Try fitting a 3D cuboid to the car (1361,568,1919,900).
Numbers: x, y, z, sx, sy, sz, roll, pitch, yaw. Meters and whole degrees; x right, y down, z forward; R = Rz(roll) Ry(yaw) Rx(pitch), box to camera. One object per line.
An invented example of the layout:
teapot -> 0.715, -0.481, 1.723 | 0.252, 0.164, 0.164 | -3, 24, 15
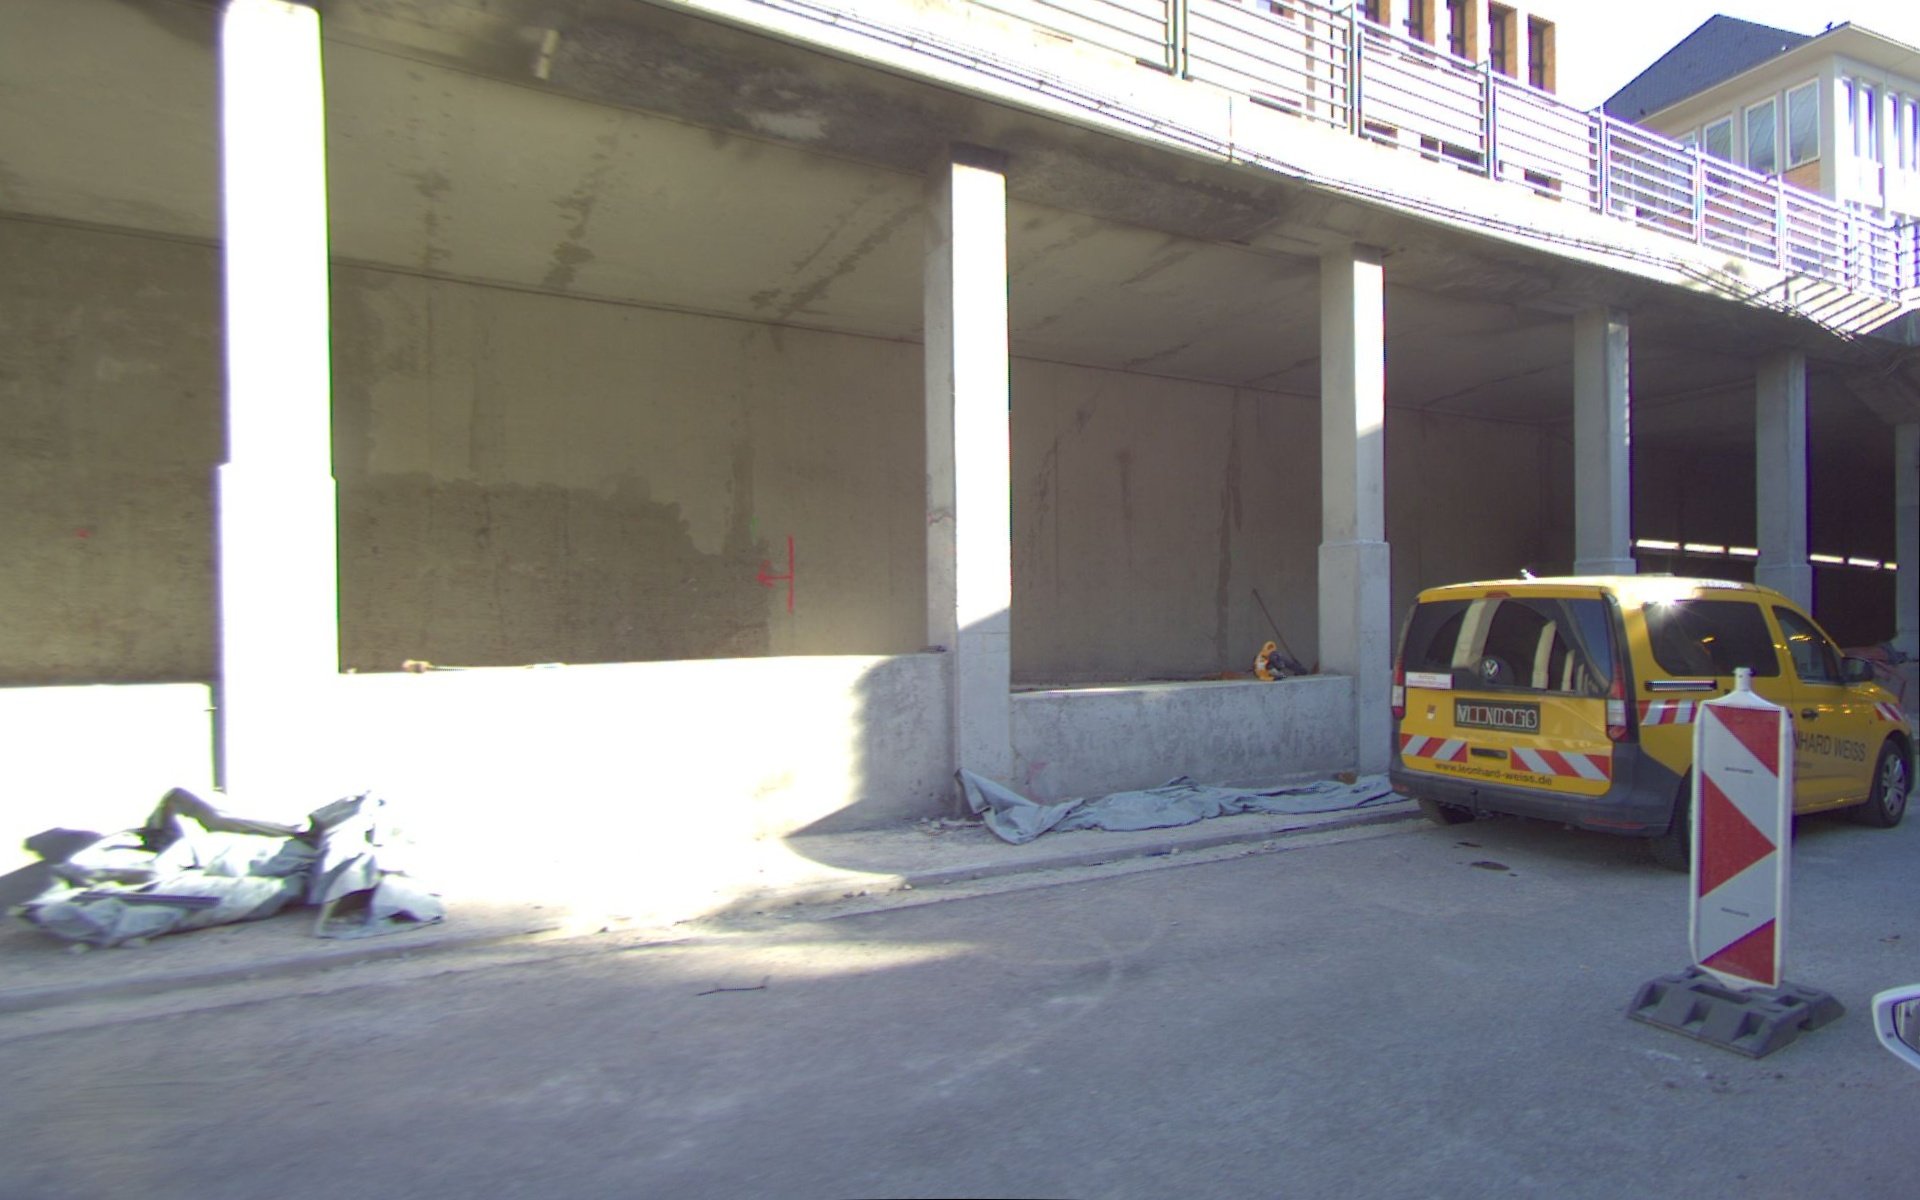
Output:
car -> 5.171, 0.746, 7.328 | 4.380, 1.799, 1.840 | 0, 0, -29
